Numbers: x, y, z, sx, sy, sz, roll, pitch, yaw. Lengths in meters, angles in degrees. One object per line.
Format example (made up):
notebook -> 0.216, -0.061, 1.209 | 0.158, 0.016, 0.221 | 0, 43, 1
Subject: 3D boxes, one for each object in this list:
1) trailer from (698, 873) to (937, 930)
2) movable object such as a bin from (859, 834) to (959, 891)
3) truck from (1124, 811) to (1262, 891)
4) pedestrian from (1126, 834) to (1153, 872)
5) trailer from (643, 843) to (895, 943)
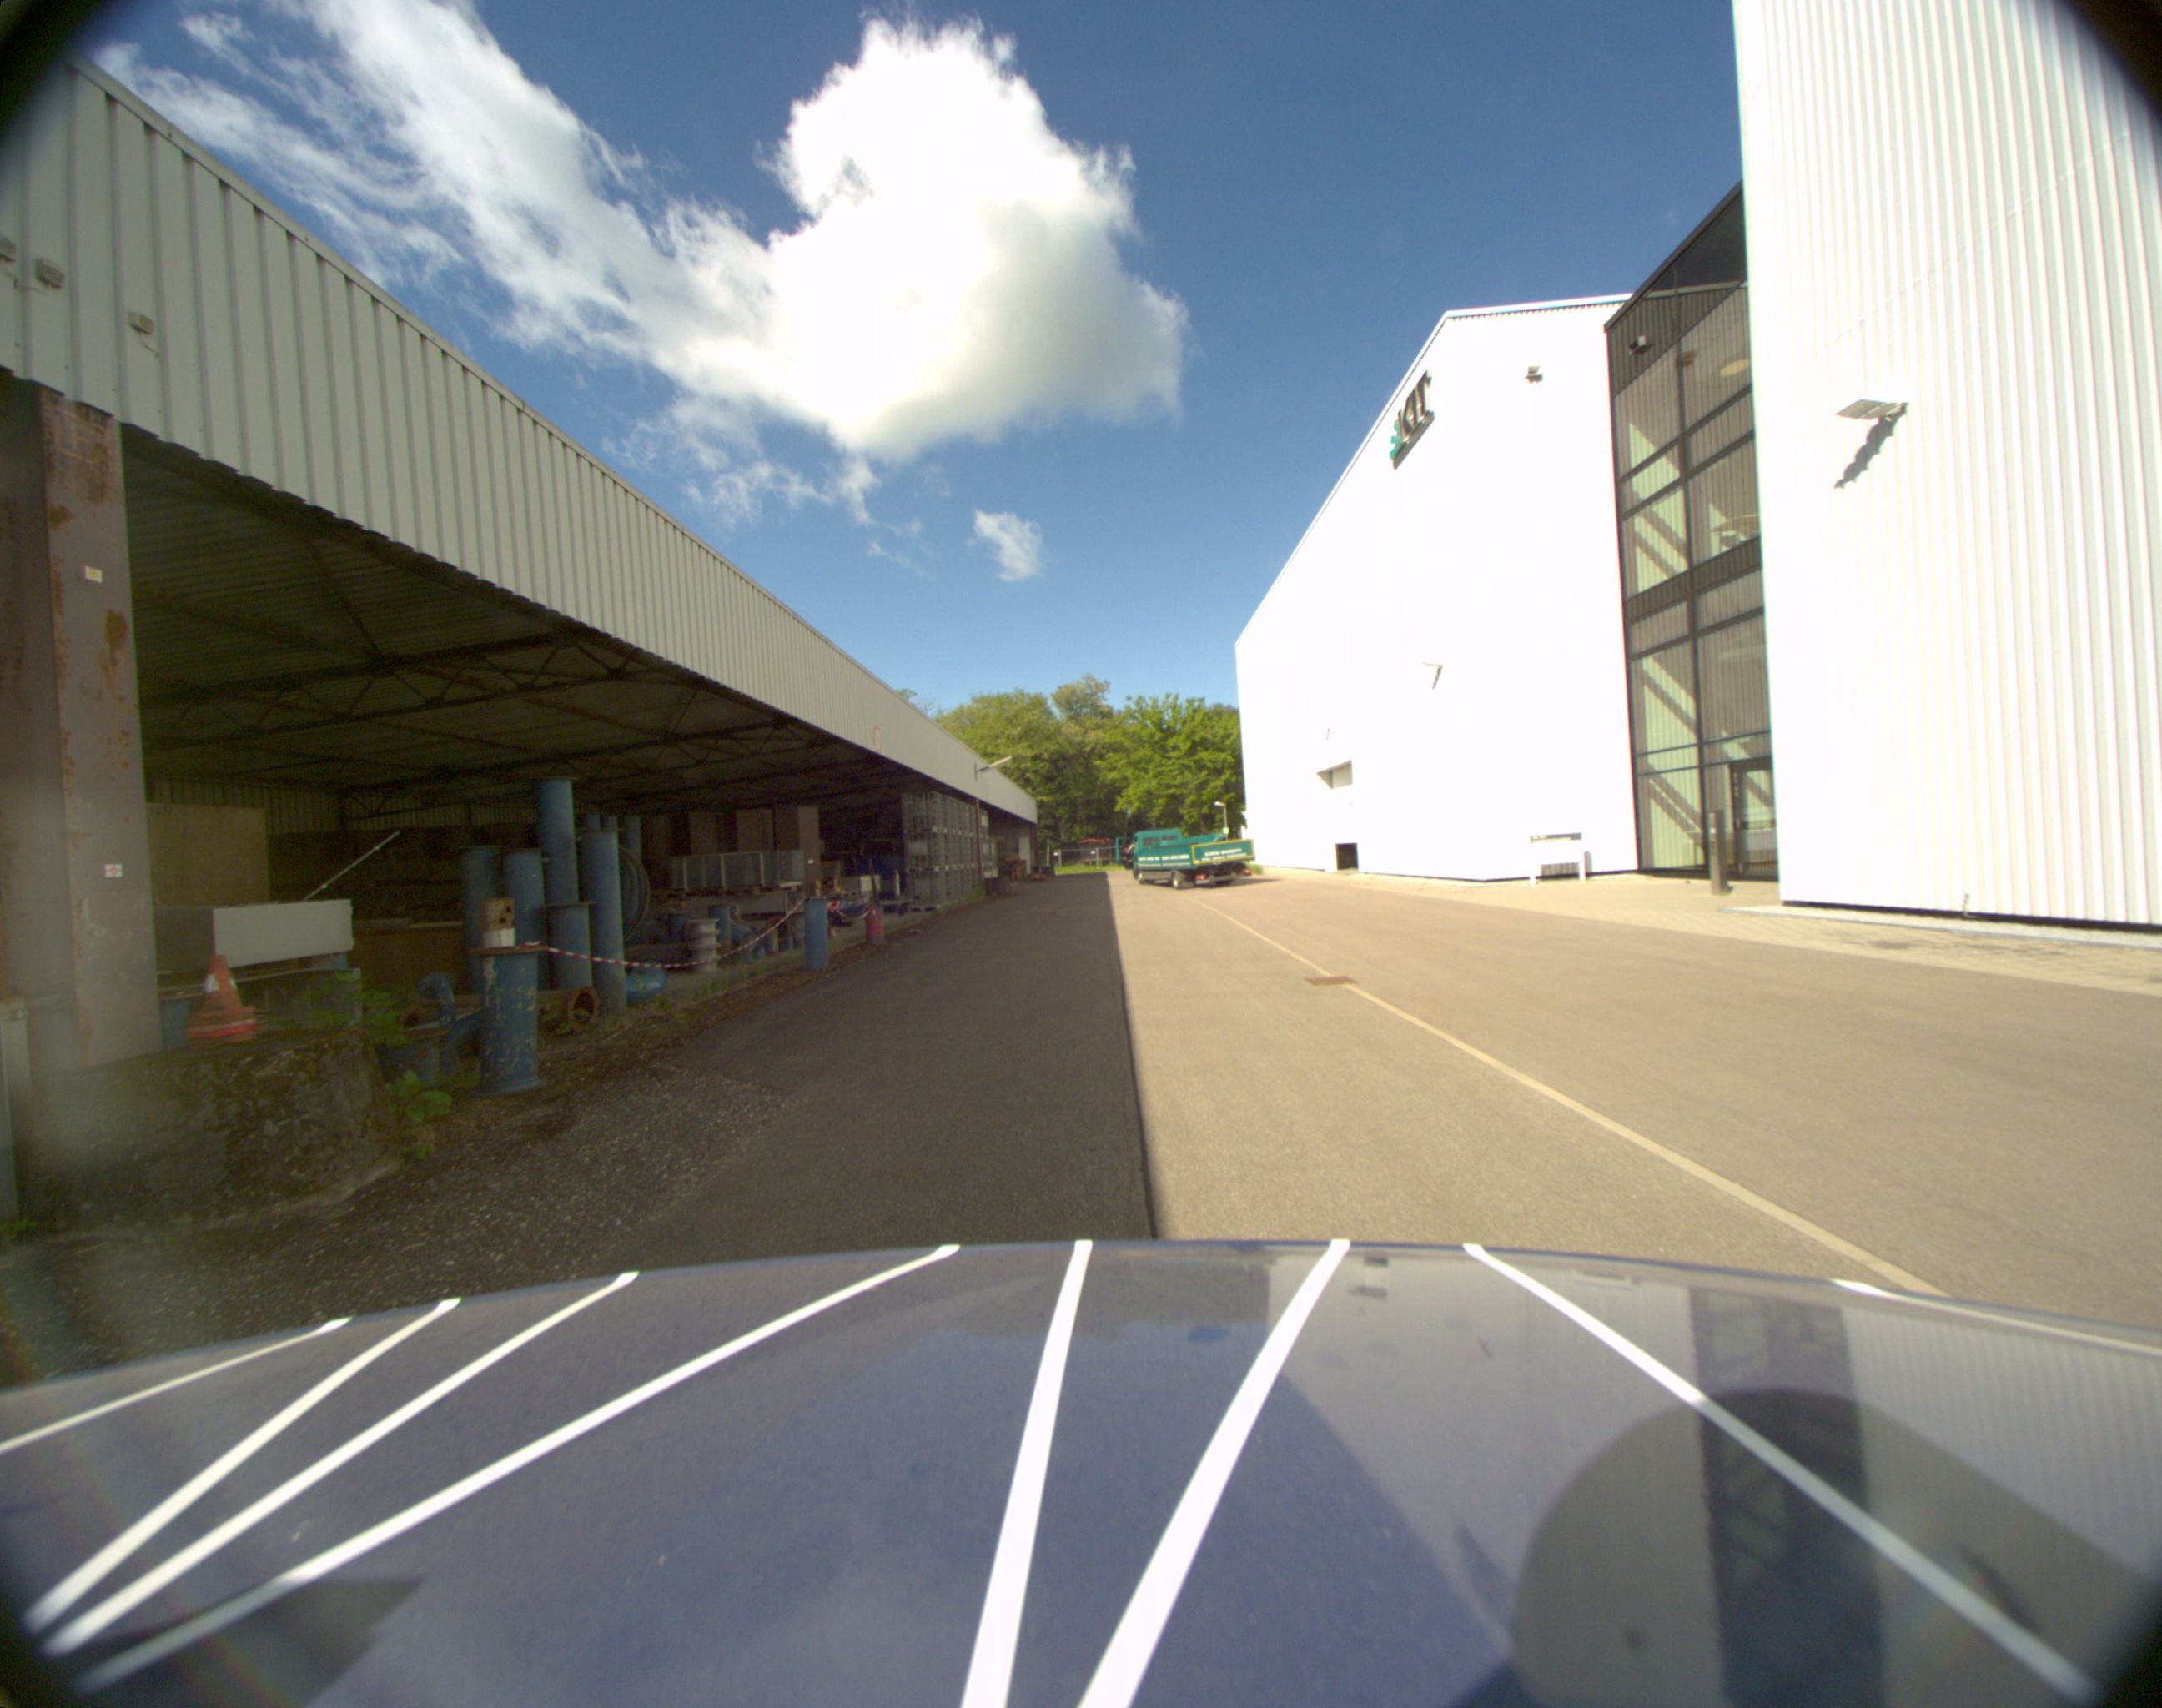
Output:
trailer -> -7.023, 1.265, 20.692 | 5.748, 1.126, 2.009 | -3, 0, 0
movable object such as a bin -> -8.778, 0.435, 39.068 | 4.626, 2.706, 2.000 | -2, -1, 0
truck -> 4.438, -0.042, 32.832 | 2.589, 2.701, 9.687 | -6, 0, -11
pedestrian -> 2.825, -0.062, 36.393 | 0.892, 1.792, 1.042 | -1, 1, 29
trailer -> -6.989, 0.834, 17.349 | 4.828, 1.985, 2.047 | -2, 1, 4
